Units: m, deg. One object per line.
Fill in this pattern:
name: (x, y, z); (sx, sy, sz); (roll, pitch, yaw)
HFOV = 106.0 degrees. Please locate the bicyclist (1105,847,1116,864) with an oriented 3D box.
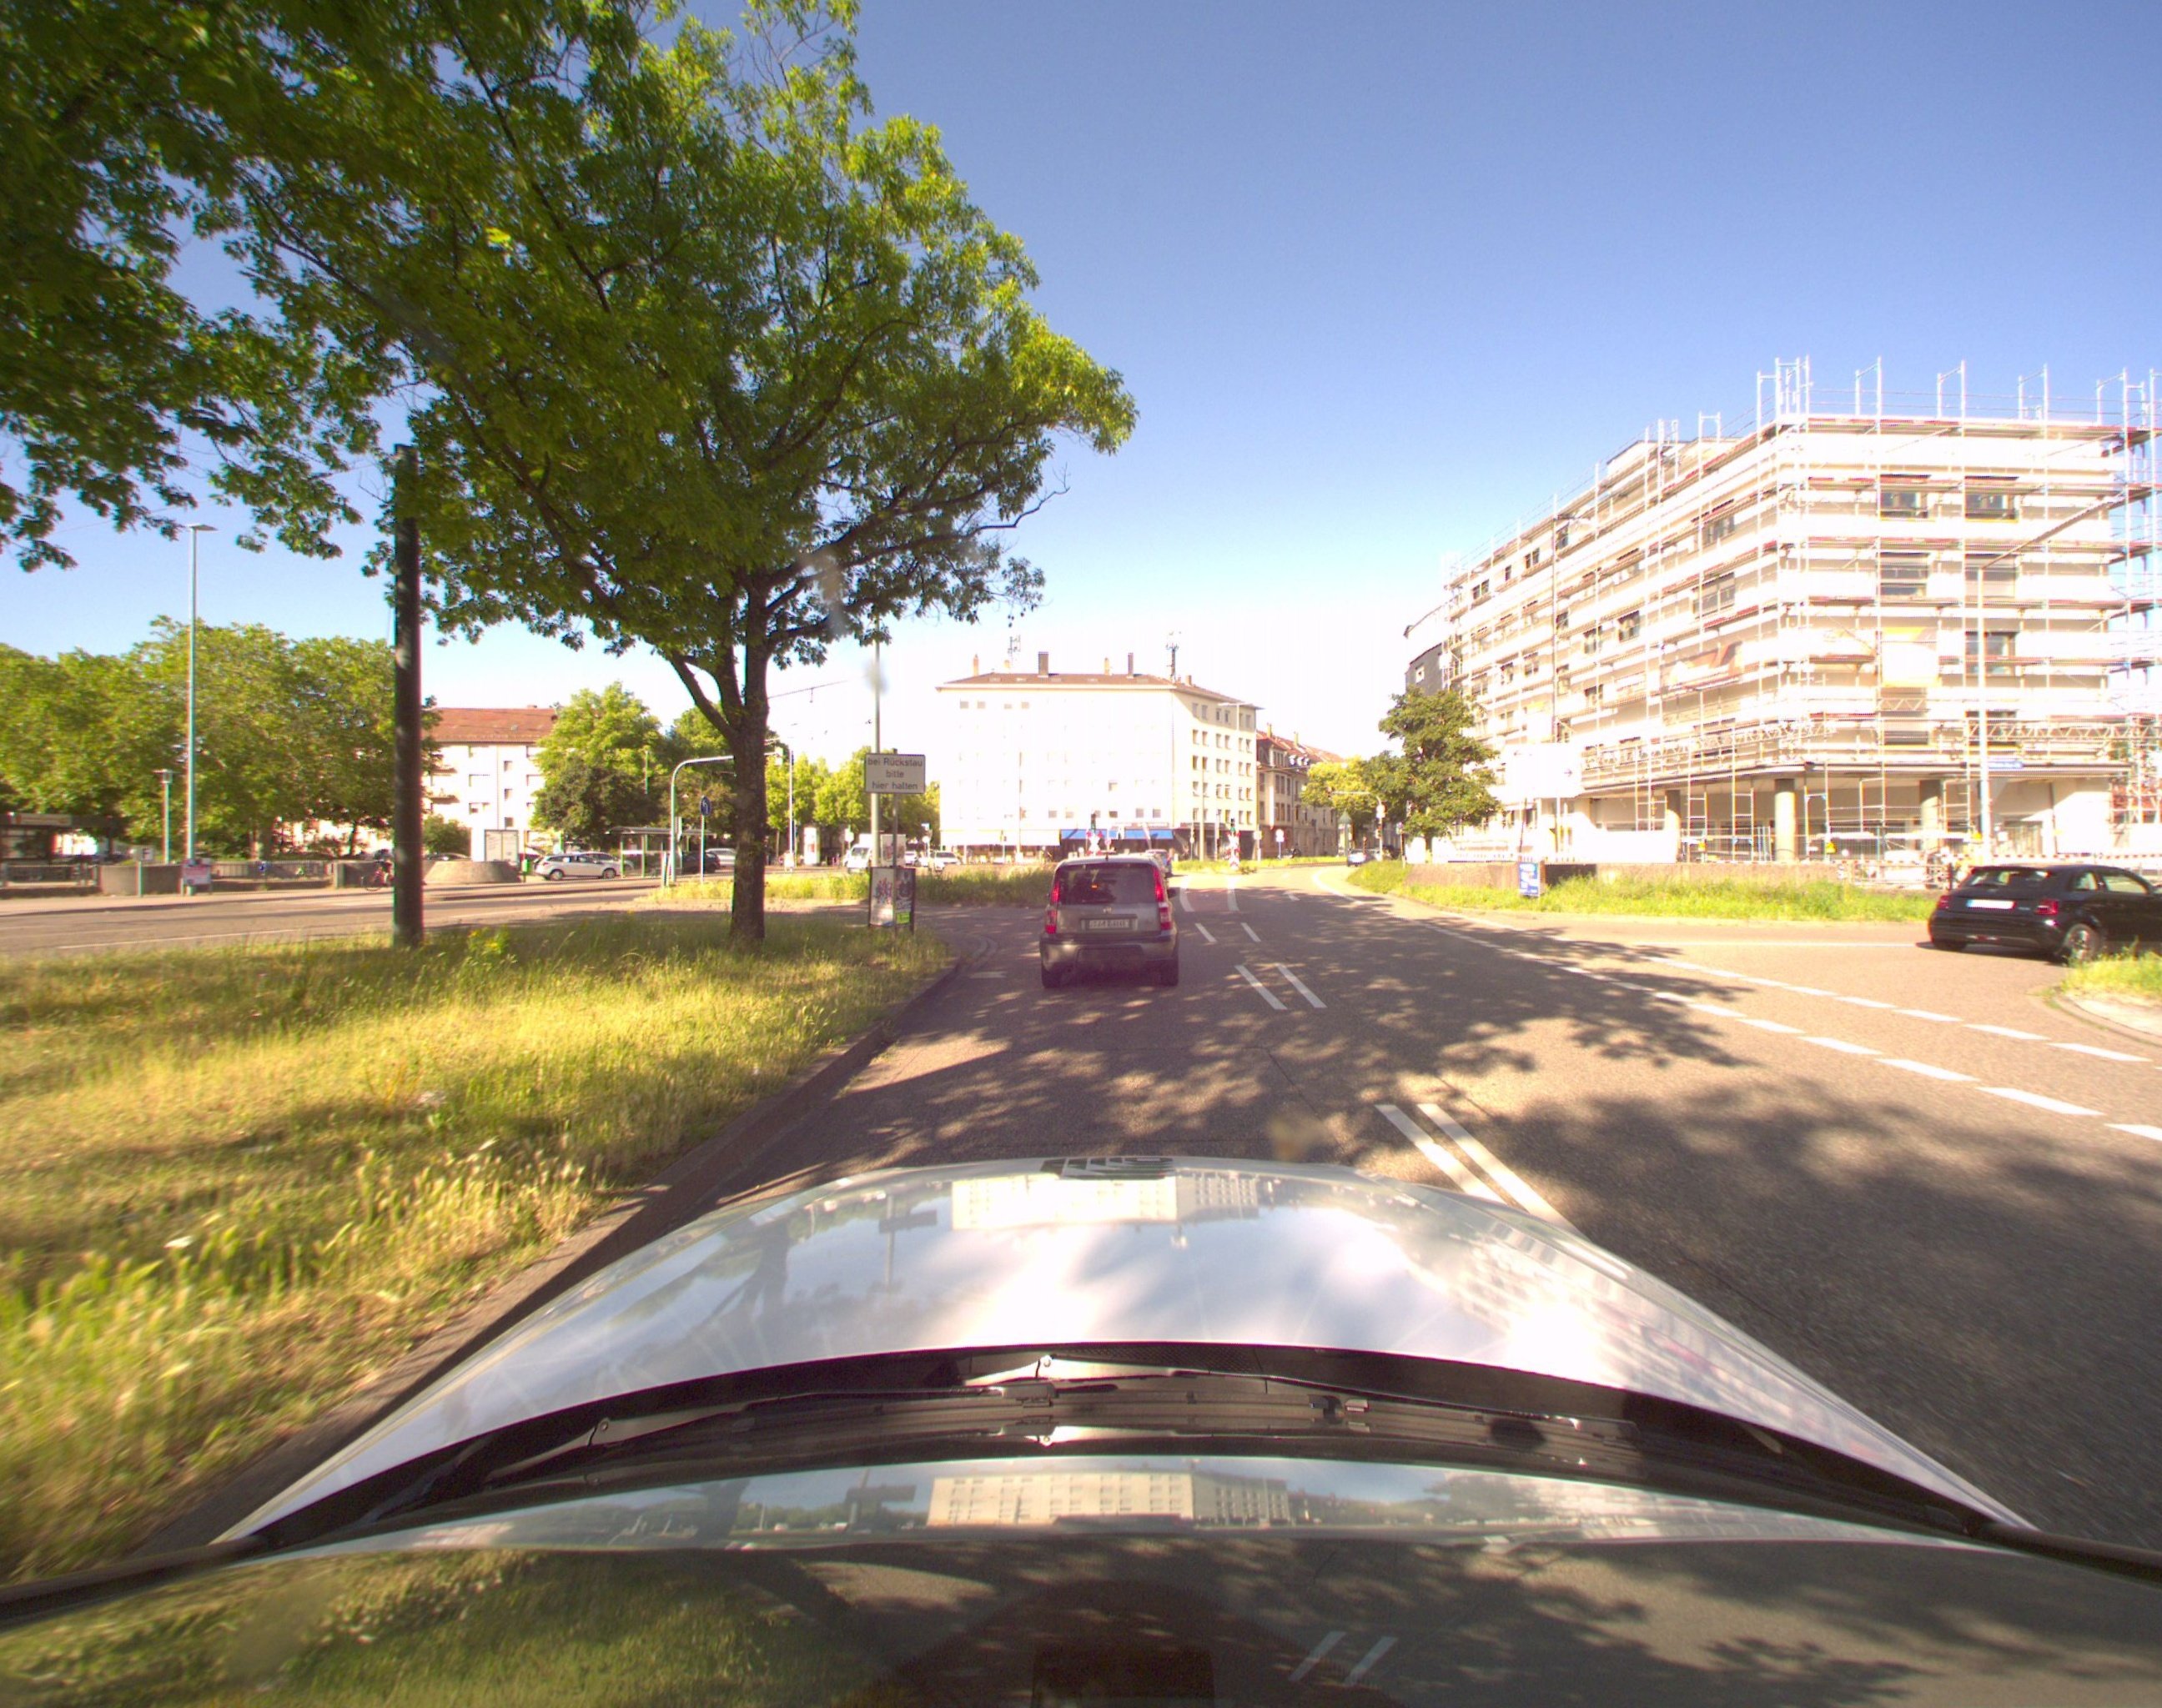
bicyclist: (2.764, 0.152, 75.650); (0.814, 1.559, 0.565); (0, 0, 24)

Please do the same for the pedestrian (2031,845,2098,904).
pedestrian: (25.386, 0.520, 21.042); (0.649, 1.497, 0.907); (0, 0, -8)

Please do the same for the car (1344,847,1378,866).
car: (22.586, 0.166, 65.613); (1.758, 1.442, 3.642); (1, 1, 33)

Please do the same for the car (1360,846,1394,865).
car: (25.361, 0.113, 69.740); (1.802, 1.508, 4.026); (-1, 1, 34)

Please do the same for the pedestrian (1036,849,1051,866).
pedestrian: (-3.112, 0.305, 67.799); (0.780, 1.427, 0.927); (2, -1, -43)

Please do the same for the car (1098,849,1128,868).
car: (2.177, 0.333, 56.212); (1.687, 1.253, 3.621); (0, 0, -4)

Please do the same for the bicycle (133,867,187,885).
bicycle: (-45.069, 1.073, 39.883); (1.695, 0.839, 0.541); (0, 0, -43)

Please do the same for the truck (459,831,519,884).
truck: (-35.519, 0.160, 48.841); (4.768, 2.994, 2.012); (1, 1, 43)

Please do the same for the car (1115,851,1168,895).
car: (2.285, 0.630, 29.955); (1.751, 1.486, 4.301); (0, 0, 6)

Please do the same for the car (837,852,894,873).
car: (-17.175, 0.669, 64.986); (3.954, 1.572, 2.010); (0, 0, 19)

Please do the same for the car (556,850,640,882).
car: (-29.306, 0.678, 49.538); (1.742, 1.717, 4.024); (3, 2, 27)

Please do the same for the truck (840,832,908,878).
truck: (-11.591, 0.042, 45.824); (1.774, 2.426, 4.129); (0, 0, 18)

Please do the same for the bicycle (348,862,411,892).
bicycle: (-25.894, 0.829, 30.083); (0.607, 1.001, 1.667); (1, 1, 21)

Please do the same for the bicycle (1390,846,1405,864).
bicycle: (27.376, 0.070, 70.478); (0.567, 1.511, 2.825); (0, 0, 34)

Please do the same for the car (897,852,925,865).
car: (-17.367, 0.464, 83.421); (1.987, 1.310, 4.000); (0, 0, 0)

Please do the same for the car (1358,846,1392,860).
car: (34.728, -0.177, 96.243); (1.906, 1.594, 3.983); (0, 0, -12)

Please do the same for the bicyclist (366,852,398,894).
bicyclist: (-25.876, 0.688, 30.148); (0.607, 1.530, 0.679); (1, 1, 21)

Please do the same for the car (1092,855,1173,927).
car: (1.072, 0.745, 18.411); (1.616, 1.429, 3.688); (0, 0, 0)

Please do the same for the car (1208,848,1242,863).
car: (13.865, 0.126, 78.247); (1.773, 1.396, 3.749); (0, 0, 35)

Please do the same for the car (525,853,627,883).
car: (-28.656, 0.736, 46.323); (1.849, 1.544, 4.576); (3, 3, 43)

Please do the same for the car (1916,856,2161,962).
car: (15.694, 0.798, 13.062); (3.555, 1.503, 1.672); (0, 0, -14)

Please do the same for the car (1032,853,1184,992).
car: (0.356, 0.751, 10.543); (1.653, 1.510, 3.253); (0, 0, 2)

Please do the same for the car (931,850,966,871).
car: (-9.250, 0.426, 57.031); (1.657, 1.448, 4.403); (0, 0, 1)

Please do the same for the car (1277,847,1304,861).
car: (23.539, 0.022, 91.388); (1.773, 1.565, 3.790); (0, 0, 35)

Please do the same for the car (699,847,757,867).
car: (-28.408, 0.213, 65.729); (3.992, 1.572, 1.991); (0, 0, -14)

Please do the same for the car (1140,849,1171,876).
car: (4.140, 0.437, 44.997); (1.637, 1.438, 3.402); (0, 0, 6)

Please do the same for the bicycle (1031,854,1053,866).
bicycle: (-3.225, 0.514, 67.899); (0.790, 0.951, 1.833); (2, -1, -45)

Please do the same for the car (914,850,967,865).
car: (-12.069, 0.325, 69.975); (3.956, 1.243, 2.009); (0, 0, 16)
